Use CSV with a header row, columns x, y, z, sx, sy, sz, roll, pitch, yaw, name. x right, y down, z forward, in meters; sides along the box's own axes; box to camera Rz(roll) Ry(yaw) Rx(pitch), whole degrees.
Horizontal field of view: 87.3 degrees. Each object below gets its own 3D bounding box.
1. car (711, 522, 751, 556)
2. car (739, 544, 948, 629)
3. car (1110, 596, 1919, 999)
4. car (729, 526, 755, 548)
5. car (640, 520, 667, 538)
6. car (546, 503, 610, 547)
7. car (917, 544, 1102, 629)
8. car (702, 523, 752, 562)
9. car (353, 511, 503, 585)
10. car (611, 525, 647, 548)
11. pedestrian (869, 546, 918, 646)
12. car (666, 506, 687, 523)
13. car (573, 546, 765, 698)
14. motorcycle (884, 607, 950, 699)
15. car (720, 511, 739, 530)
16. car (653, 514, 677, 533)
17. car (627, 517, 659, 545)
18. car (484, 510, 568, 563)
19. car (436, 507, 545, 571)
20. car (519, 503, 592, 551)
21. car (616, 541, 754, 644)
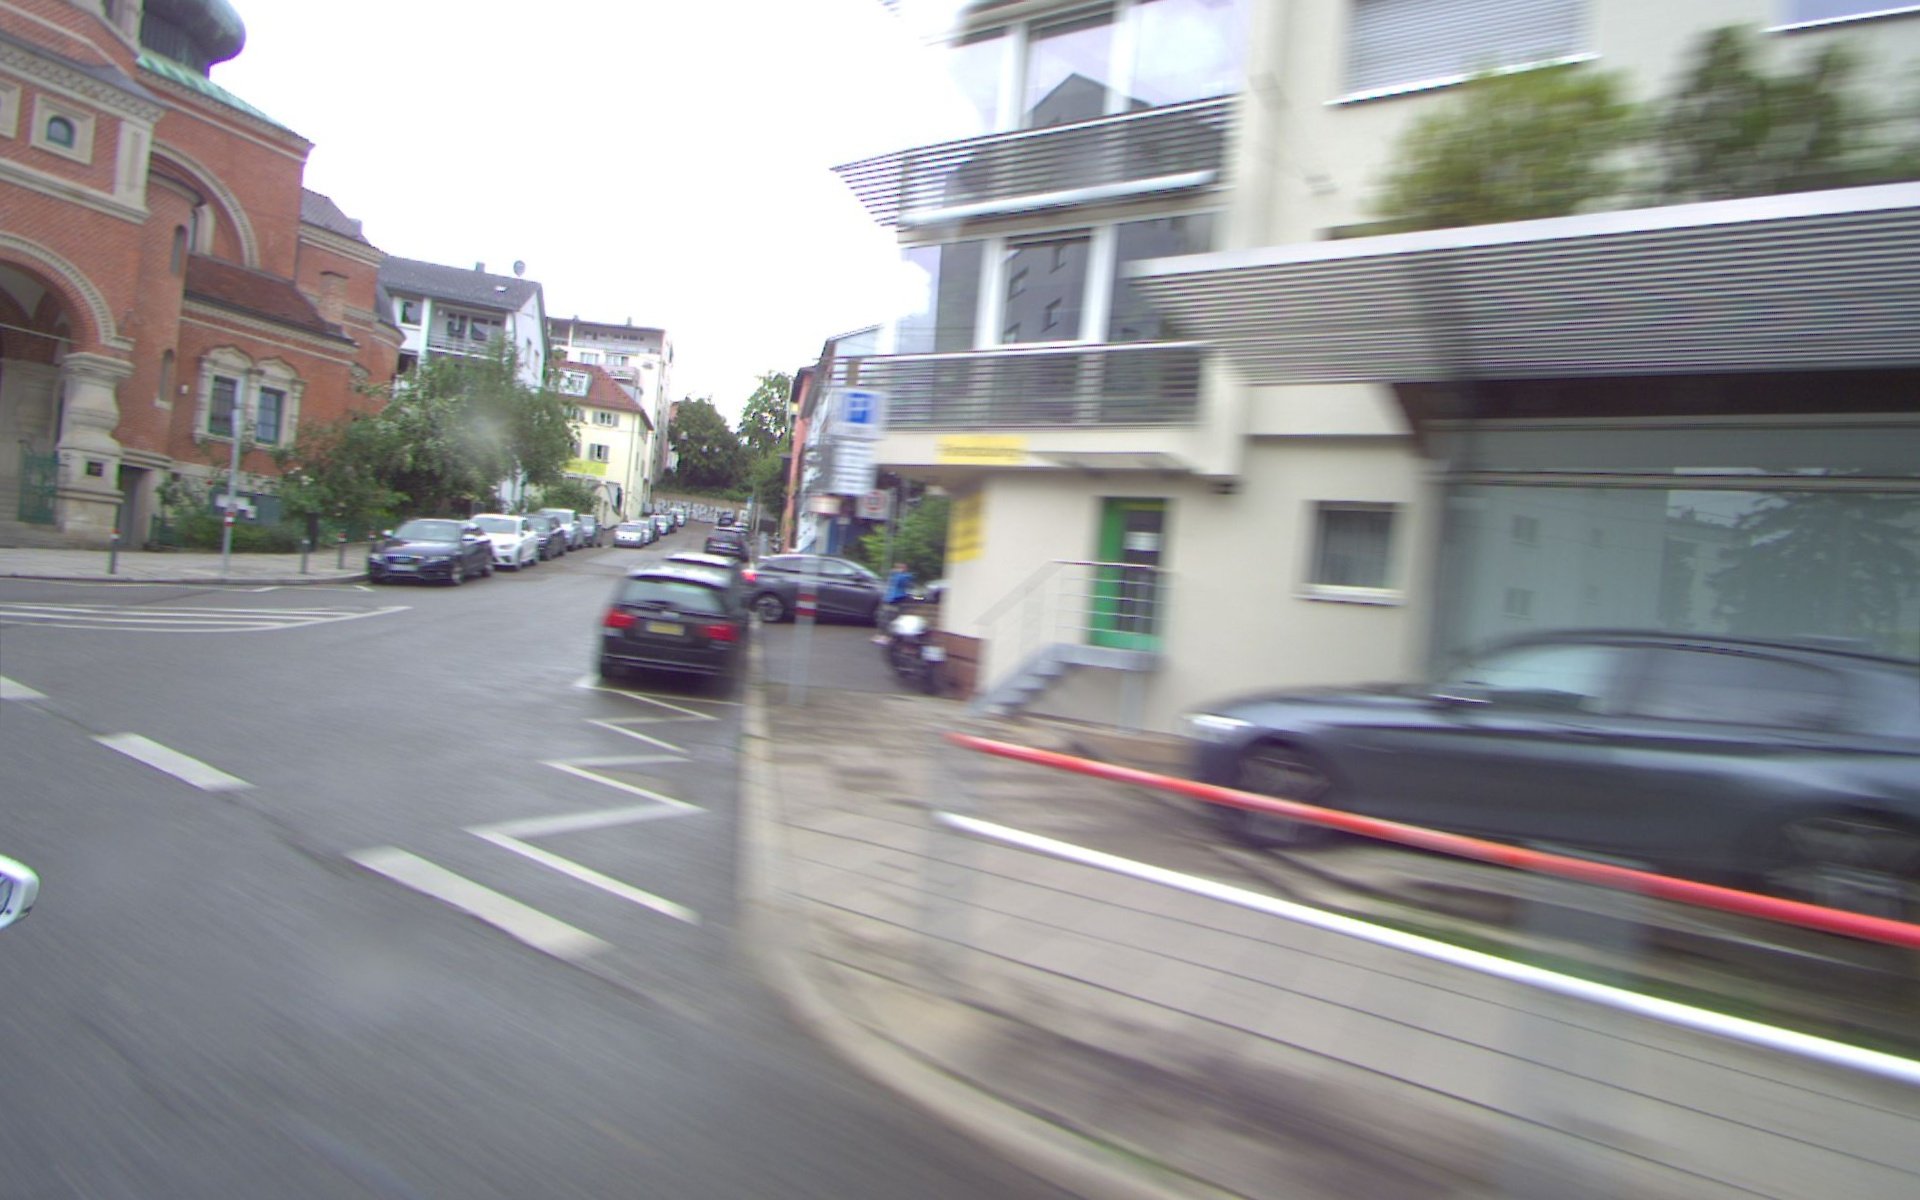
x,y,z,sx,sy,sz,roll,pitch,yaw,name
-12.823,-3.398,56.516,1.798,1.549,3.992,7,0,-10,car
-2.536,-0.347,22.582,4.363,1.641,1.998,2,5,3,car
3.338,0.893,6.032,4.376,1.523,1.853,5,2,32,car
-18.476,-5.346,85.487,1.798,1.477,3.986,7,5,-9,car
-24.967,-5.778,81.976,1.665,1.222,3.813,6,4,-13,car
-16.791,-3.241,44.393,1.910,1.526,4.437,6,1,-13,car
1.210,-0.310,24.071,3.925,1.564,2.001,5,-1,18,car
-10.649,-2.580,46.184,1.798,1.423,3.992,7,0,-9,car
-12.243,-1.275,23.470,1.910,1.388,4.460,4,5,-13,car
-20.857,-4.043,63.551,1.665,1.221,3.815,6,3,-13,car
-1.288,-0.099,19.666,0.765,1.825,1.021,5,5,-1,pedestrian
-27.872,-8.416,99.062,1.665,1.290,3.809,6,7,-13,car
-3.784,0.151,13.459,1.970,1.477,4.431,5,3,-14,car
-0.643,0.703,14.215,0.543,0.993,2.206,5,3,-11,motorcycle
-24.075,-8.336,105.093,1.799,1.427,3.978,6,9,-14,car
-25.990,-6.738,88.744,1.665,1.223,3.809,6,7,-13,car
-21.517,-4.711,68.446,1.665,1.601,3.812,5,4,-14,car
-14.326,-2.144,33.398,1.909,1.465,3.614,2,6,-12,car
-13.184,-1.766,28.515,1.914,1.516,3.913,4,4,-13,car
-15.595,-2.863,38.968,1.911,1.536,3.829,6,5,-13,car
-4.969,-0.235,18.767,1.968,1.477,4.435,6,3,-11,car
